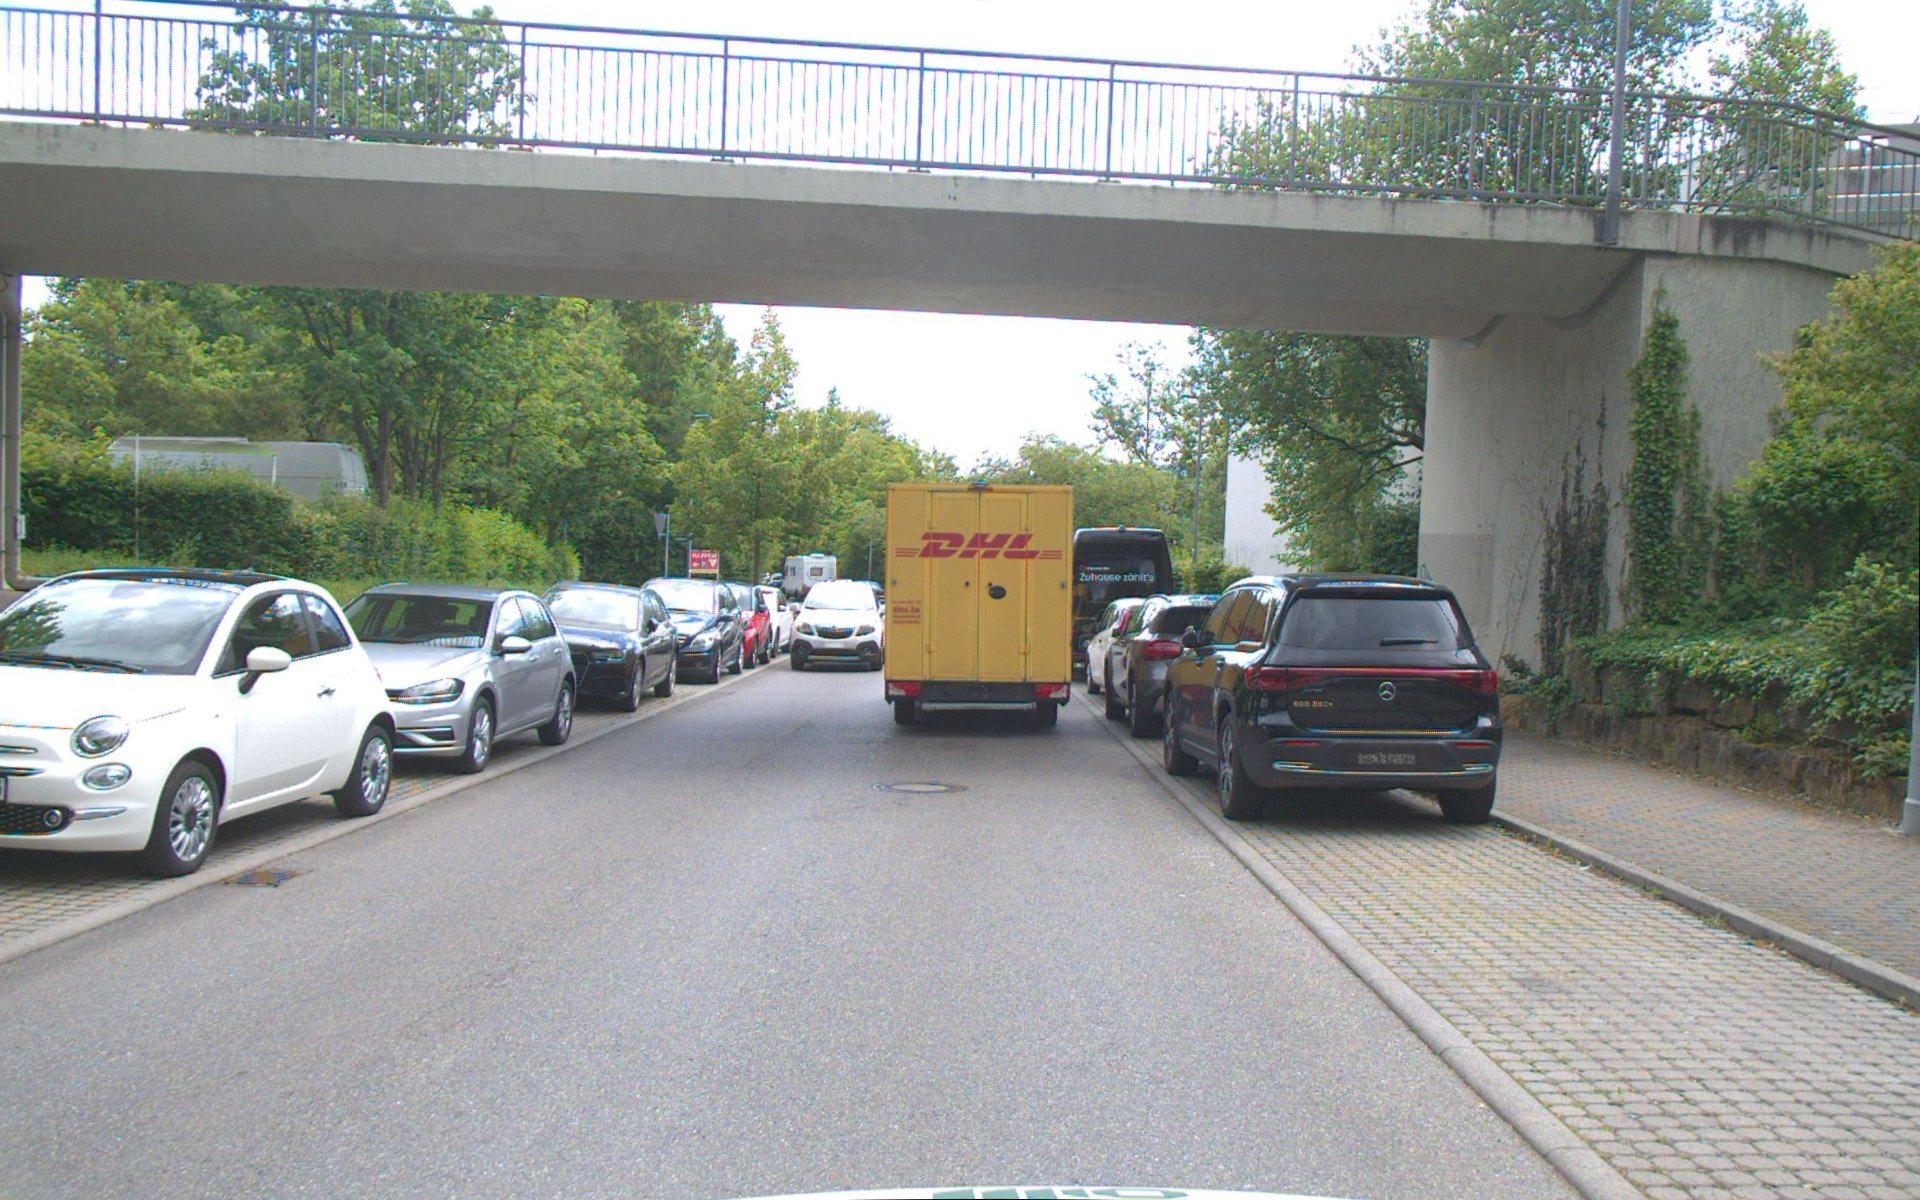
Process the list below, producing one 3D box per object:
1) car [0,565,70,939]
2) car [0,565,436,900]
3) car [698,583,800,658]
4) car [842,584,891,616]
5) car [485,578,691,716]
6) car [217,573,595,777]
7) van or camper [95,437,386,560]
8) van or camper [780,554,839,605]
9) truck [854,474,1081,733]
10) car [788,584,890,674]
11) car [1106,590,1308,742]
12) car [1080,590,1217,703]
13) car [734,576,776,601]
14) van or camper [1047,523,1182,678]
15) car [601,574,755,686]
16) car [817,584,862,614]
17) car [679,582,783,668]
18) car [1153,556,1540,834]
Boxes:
[{"bbox_3d":[-4.714,0.562,4.985,1.750,1.493,4.000,5,0,1],"label":"car"},{"bbox_3d":[-4.576,0.598,9.544,1.846,1.485,3.547,4,0,1],"label":"car"},{"bbox_3d":[-4.528,0.408,35.991,1.640,1.461,3.969,2,0,0],"label":"car"},{"bbox_3d":[-5.256,-0.023,92.367,1.814,1.556,3.982,2,2,-17],"label":"car"},{"bbox_3d":[-4.698,0.534,21.517,1.847,1.535,4.449,2,0,-4],"label":"car"},{"bbox_3d":[-4.611,0.562,14.437,1.846,1.452,4.000,2,0,1],"label":"car"},{"bbox_3d":[-14.013,-1.960,32.462,4.760,2.122,1.998,2,1,-5],"label":"van or camper"},{"bbox_3d":[-9.681,-1.353,105.864,2.290,2.921,5.228,3,1,-21],"label":"van or camper"},{"bbox_3d":[0.029,0.005,21.111,2.416,2.749,6.823,-1,1,-1],"label":"truck"},{"bbox_3d":[-2.337,0.515,32.787,1.712,1.639,4.052,1,1,0],"label":"car"},{"bbox_3d":[2.718,0.670,19.025,1.665,1.523,4.118,1,0,0],"label":"car"},{"bbox_3d":[2.713,0.633,24.368,1.531,1.522,3.330,1,1,-2],"label":"car"},{"bbox_3d":[-14.639,-0.838,117.956,1.820,1.556,3.969,2,2,-25],"label":"car"},{"bbox_3d":[2.721,0.004,30.325,1.953,2.567,5.470,0,0,0],"label":"van or camper"},{"bbox_3d":[-4.586,0.449,27.431,1.847,1.586,3.837,4,0,-1],"label":"car"},{"bbox_3d":[-7.265,-0.073,99.380,1.814,1.556,3.982,2,2,-17],"label":"car"},{"bbox_3d":[-4.366,0.450,31.847,1.497,1.532,2.713,2,0,1],"label":"car"},{"bbox_3d":[2.651,0.578,12.416,1.777,1.707,4.369,1,0,-2],"label":"car"}]
